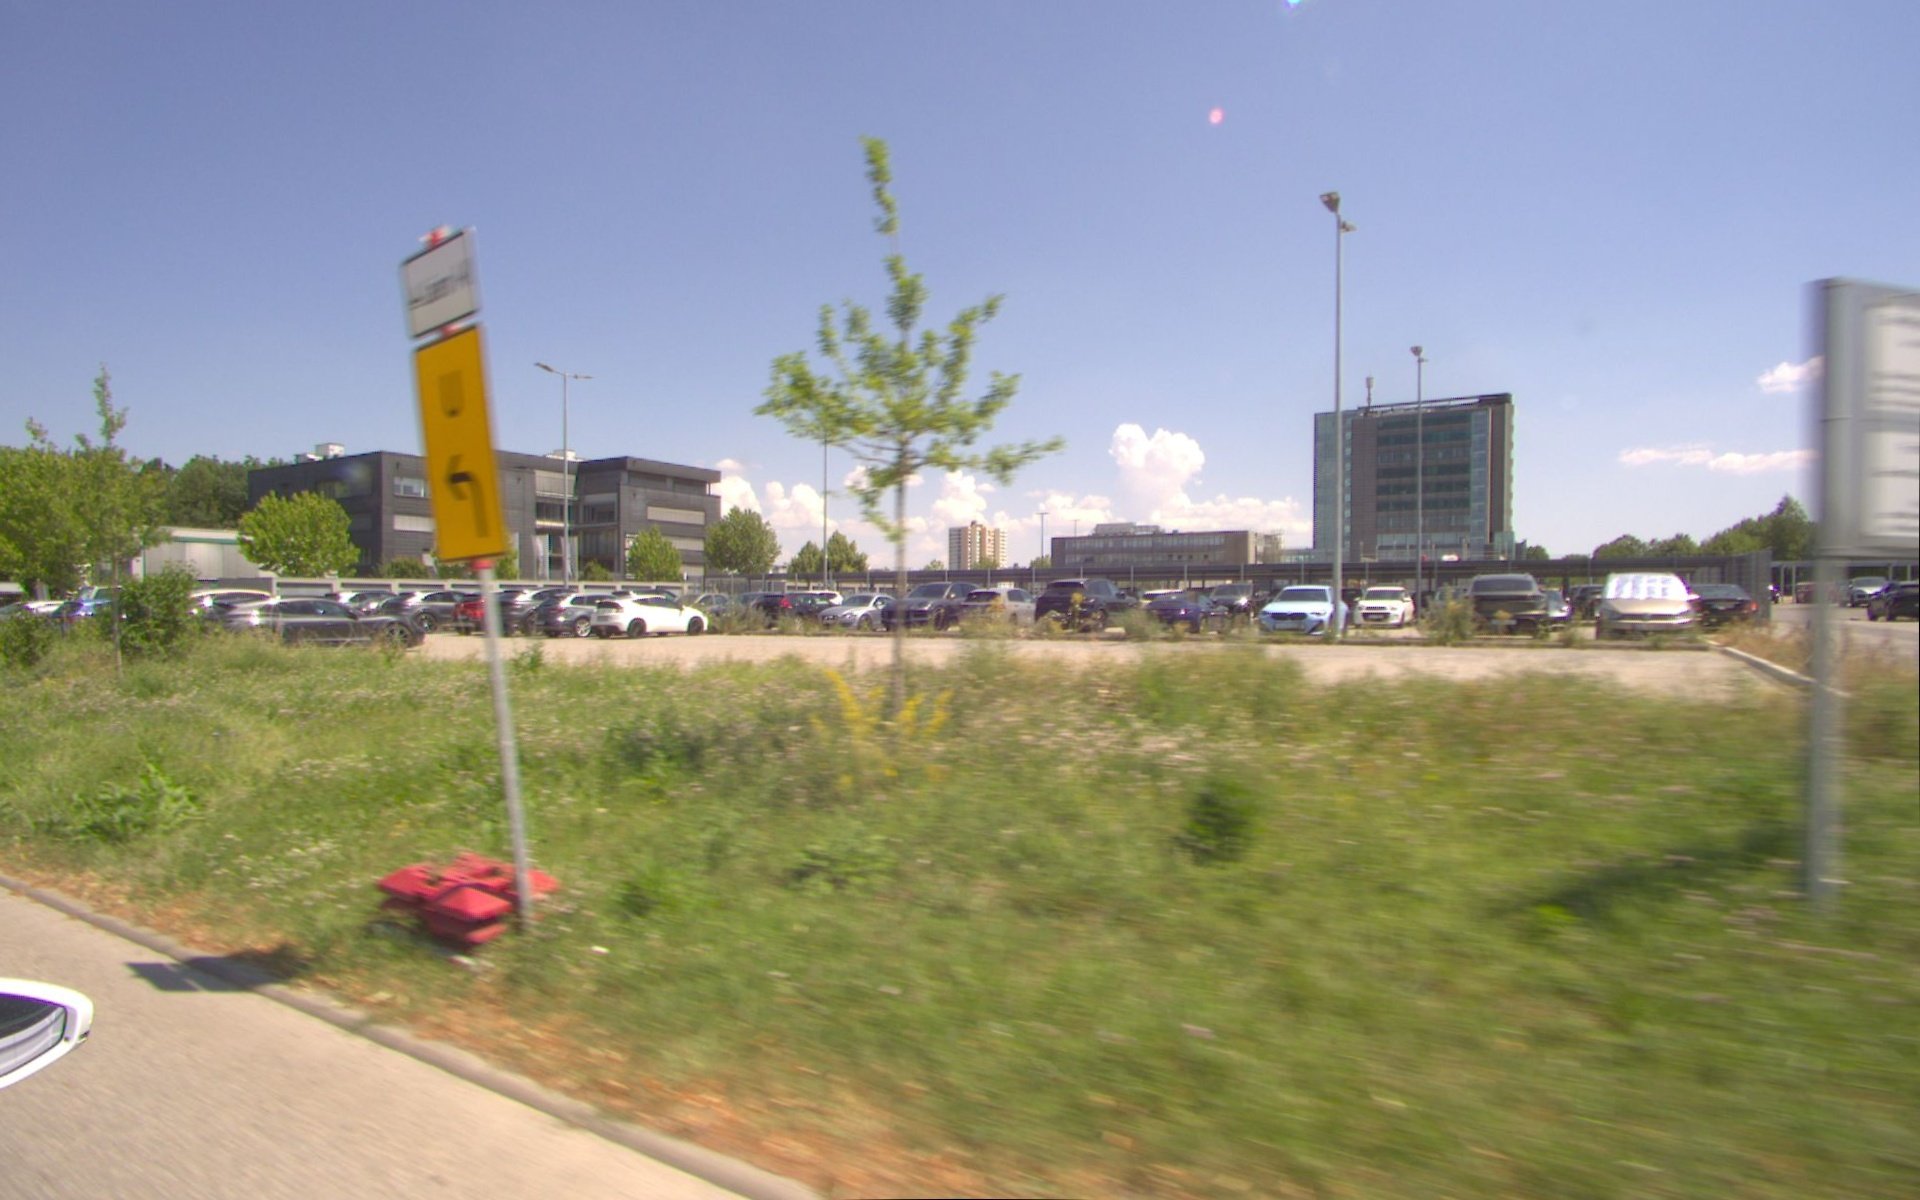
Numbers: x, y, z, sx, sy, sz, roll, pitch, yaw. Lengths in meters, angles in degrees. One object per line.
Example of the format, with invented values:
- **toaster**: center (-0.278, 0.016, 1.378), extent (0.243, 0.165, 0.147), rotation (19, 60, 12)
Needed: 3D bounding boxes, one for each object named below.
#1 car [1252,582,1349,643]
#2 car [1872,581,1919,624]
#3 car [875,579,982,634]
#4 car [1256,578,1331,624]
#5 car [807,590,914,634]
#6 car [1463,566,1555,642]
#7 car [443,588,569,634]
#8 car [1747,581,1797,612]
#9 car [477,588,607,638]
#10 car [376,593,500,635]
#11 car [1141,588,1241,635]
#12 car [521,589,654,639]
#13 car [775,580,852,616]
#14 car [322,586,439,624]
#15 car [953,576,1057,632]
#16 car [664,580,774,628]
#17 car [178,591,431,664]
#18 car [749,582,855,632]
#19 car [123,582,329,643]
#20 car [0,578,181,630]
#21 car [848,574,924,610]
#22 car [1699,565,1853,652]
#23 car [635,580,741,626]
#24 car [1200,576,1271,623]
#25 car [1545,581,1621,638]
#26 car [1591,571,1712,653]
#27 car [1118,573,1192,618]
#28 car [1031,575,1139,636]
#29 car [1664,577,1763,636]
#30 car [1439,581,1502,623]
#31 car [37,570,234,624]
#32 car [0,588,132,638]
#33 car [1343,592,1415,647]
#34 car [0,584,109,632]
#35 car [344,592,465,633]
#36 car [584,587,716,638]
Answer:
- **car**: center (9.216, 0.259, 26.925), extent (1.741, 1.412, 3.982), rotation (4, 3, 28)
- **car**: center (38.979, 0.096, 40.843), extent (1.767, 1.663, 3.979), rotation (4, 3, 31)
- **car**: center (-0.964, 0.144, 33.214), extent (1.741, 1.618, 3.982), rotation (4, 3, 28)
- **car**: center (12.470, -0.017, 37.318), extent (1.968, 1.507, 3.982), rotation (4, 3, 28)
- **car**: center (-3.410, 0.366, 34.954), extent (1.741, 1.289, 3.982), rotation (4, 3, 28)
- **car**: center (13.477, 0.030, 24.644), extent (1.741, 1.618, 4.360), rotation (4, 3, 28)
- **car**: center (-16.605, 0.346, 36.778), extent (1.741, 1.482, 3.982), rotation (4, 3, 28)
- **car**: center (57.052, -0.271, 70.404), extent (1.969, 2.042, 3.980), rotation (4, 3, 30)
- **car**: center (-14.479, 0.387, 34.869), extent (1.741, 1.511, 3.982), rotation (4, 3, 28)
- **car**: center (-20.164, 0.499, 38.836), extent (1.741, 1.420, 3.982), rotation (4, 3, 28)
- **car**: center (6.704, 0.289, 28.782), extent (1.741, 1.124, 3.982), rotation (4, 3, 28)
- **car**: center (-12.347, 0.415, 33.422), extent (1.741, 1.420, 3.982), rotation (4, 3, 28)
- **car**: center (-7.214, -0.125, 49.630), extent (1.741, 1.618, 3.982), rotation (4, 3, 28)
- **car**: center (-24.524, 0.166, 42.505), extent (1.741, 1.420, 3.982), rotation (4, 3, 28)
- **car**: center (1.514, 0.063, 32.210), extent (1.741, 1.618, 3.982), rotation (4, 3, 28)
- **car**: center (-8.944, 0.102, 37.439), extent (1.741, 1.618, 3.982), rotation (4, 3, 28)
- **car**: center (-15.386, 0.568, 23.782), extent (1.894, 1.420, 4.690), rotation (4, 3, 34)
- **car**: center (-5.730, 0.216, 36.709), extent (1.741, 1.618, 3.982), rotation (4, 3, 28)
- **car**: center (-19.740, 0.272, 27.135), extent (1.741, 1.420, 4.157), rotation (4, 3, 28)
- **car**: center (-26.969, 0.058, 31.023), extent (1.741, 1.420, 4.157), rotation (4, 3, 28)
- **car**: center (-3.497, -0.419, 48.001), extent (1.741, 1.618, 3.982), rotation (4, 3, 28)
- **car**: center (17.352, 0.108, 21.501), extent (1.741, 1.618, 3.982), rotation (4, 3, 28)
- **car**: center (-10.670, 0.065, 39.552), extent (1.741, 1.618, 3.982), rotation (4, 3, 28)
- **car**: center (10.639, -0.069, 38.502), extent (1.741, 1.618, 3.982), rotation (4, 3, 28)
- **car**: center (19.992, 0.237, 32.265), extent (1.741, 1.618, 3.982), rotation (4, 3, 28)
- **car**: center (15.604, 0.194, 22.785), extent (1.741, 1.618, 3.982), rotation (4, 3, 28)
- **car**: center (7.844, -0.228, 40.013), extent (1.741, 1.618, 3.982), rotation (4, 3, 28)
- **car**: center (3.822, 0.094, 30.116), extent (1.832, 1.618, 3.982), rotation (4, 3, 28)
- **car**: center (22.912, 0.130, 30.579), extent (1.741, 1.618, 3.982), rotation (4, 3, 28)
- **car**: center (16.981, 0.014, 33.298), extent (1.704, 1.209, 3.982), rotation (4, 3, 28)
- **car**: center (-24.305, -0.129, 29.683), extent (1.741, 1.420, 4.157), rotation (4, 3, 28)
- **car**: center (-29.605, 0.379, 32.273), extent (1.741, 1.420, 4.157), rotation (4, 3, 28)
- **car**: center (15.078, 0.641, 35.955), extent (1.968, 1.707, 3.982), rotation (4, 3, 28)
- **car**: center (-31.258, 0.241, 33.320), extent (1.741, 1.420, 4.157), rotation (4, 3, 28)
- **car**: center (-22.276, 0.442, 40.315), extent (1.741, 1.420, 3.982), rotation (4, 3, 28)
- **car**: center (-9.954, 0.350, 32.403), extent (1.741, 1.420, 3.980), rotation (4, 3, 30)
